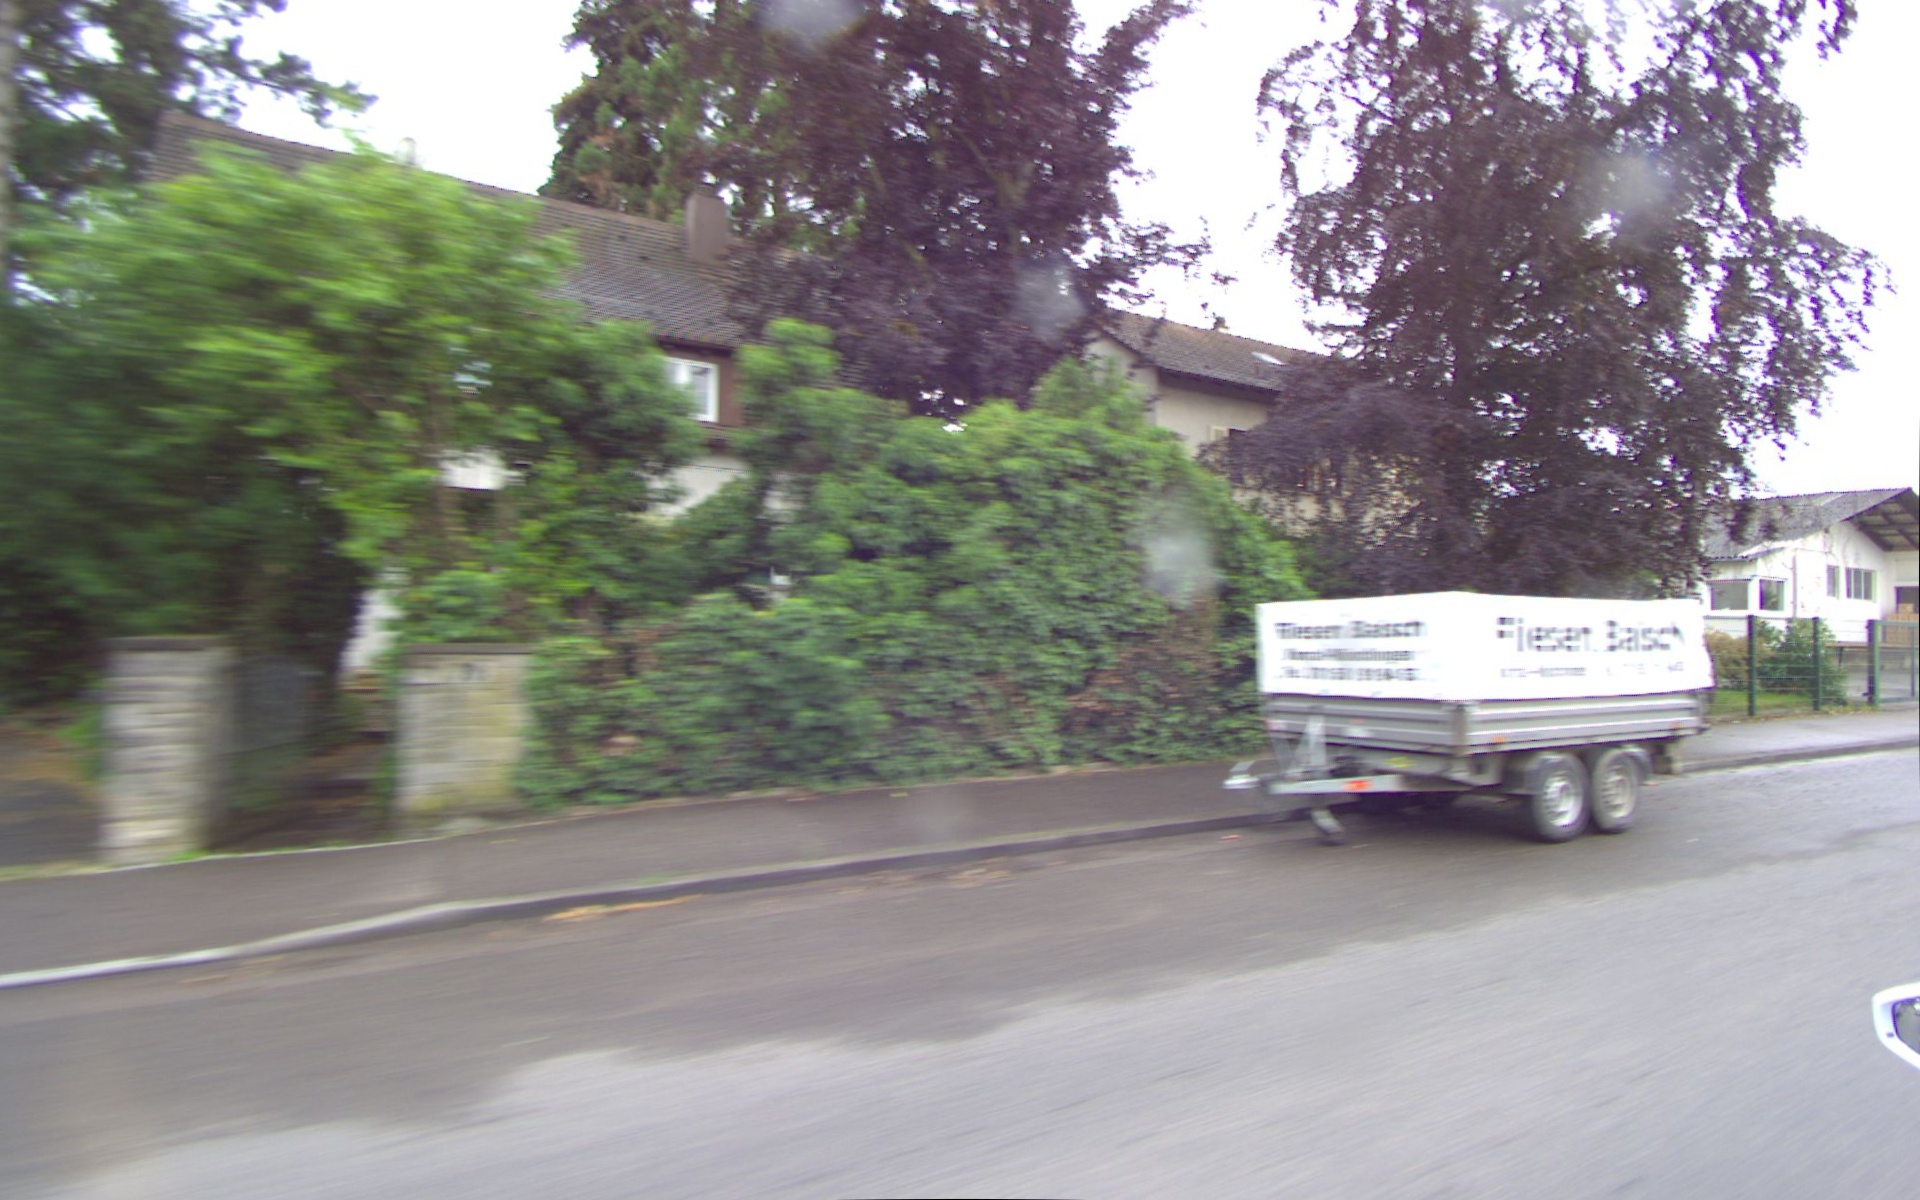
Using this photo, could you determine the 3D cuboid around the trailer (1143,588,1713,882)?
[{"bbox_3d":[3.840,0.870,8.074,4.493,1.789,1.921,1,-1,-29],"label":"trailer"}]
